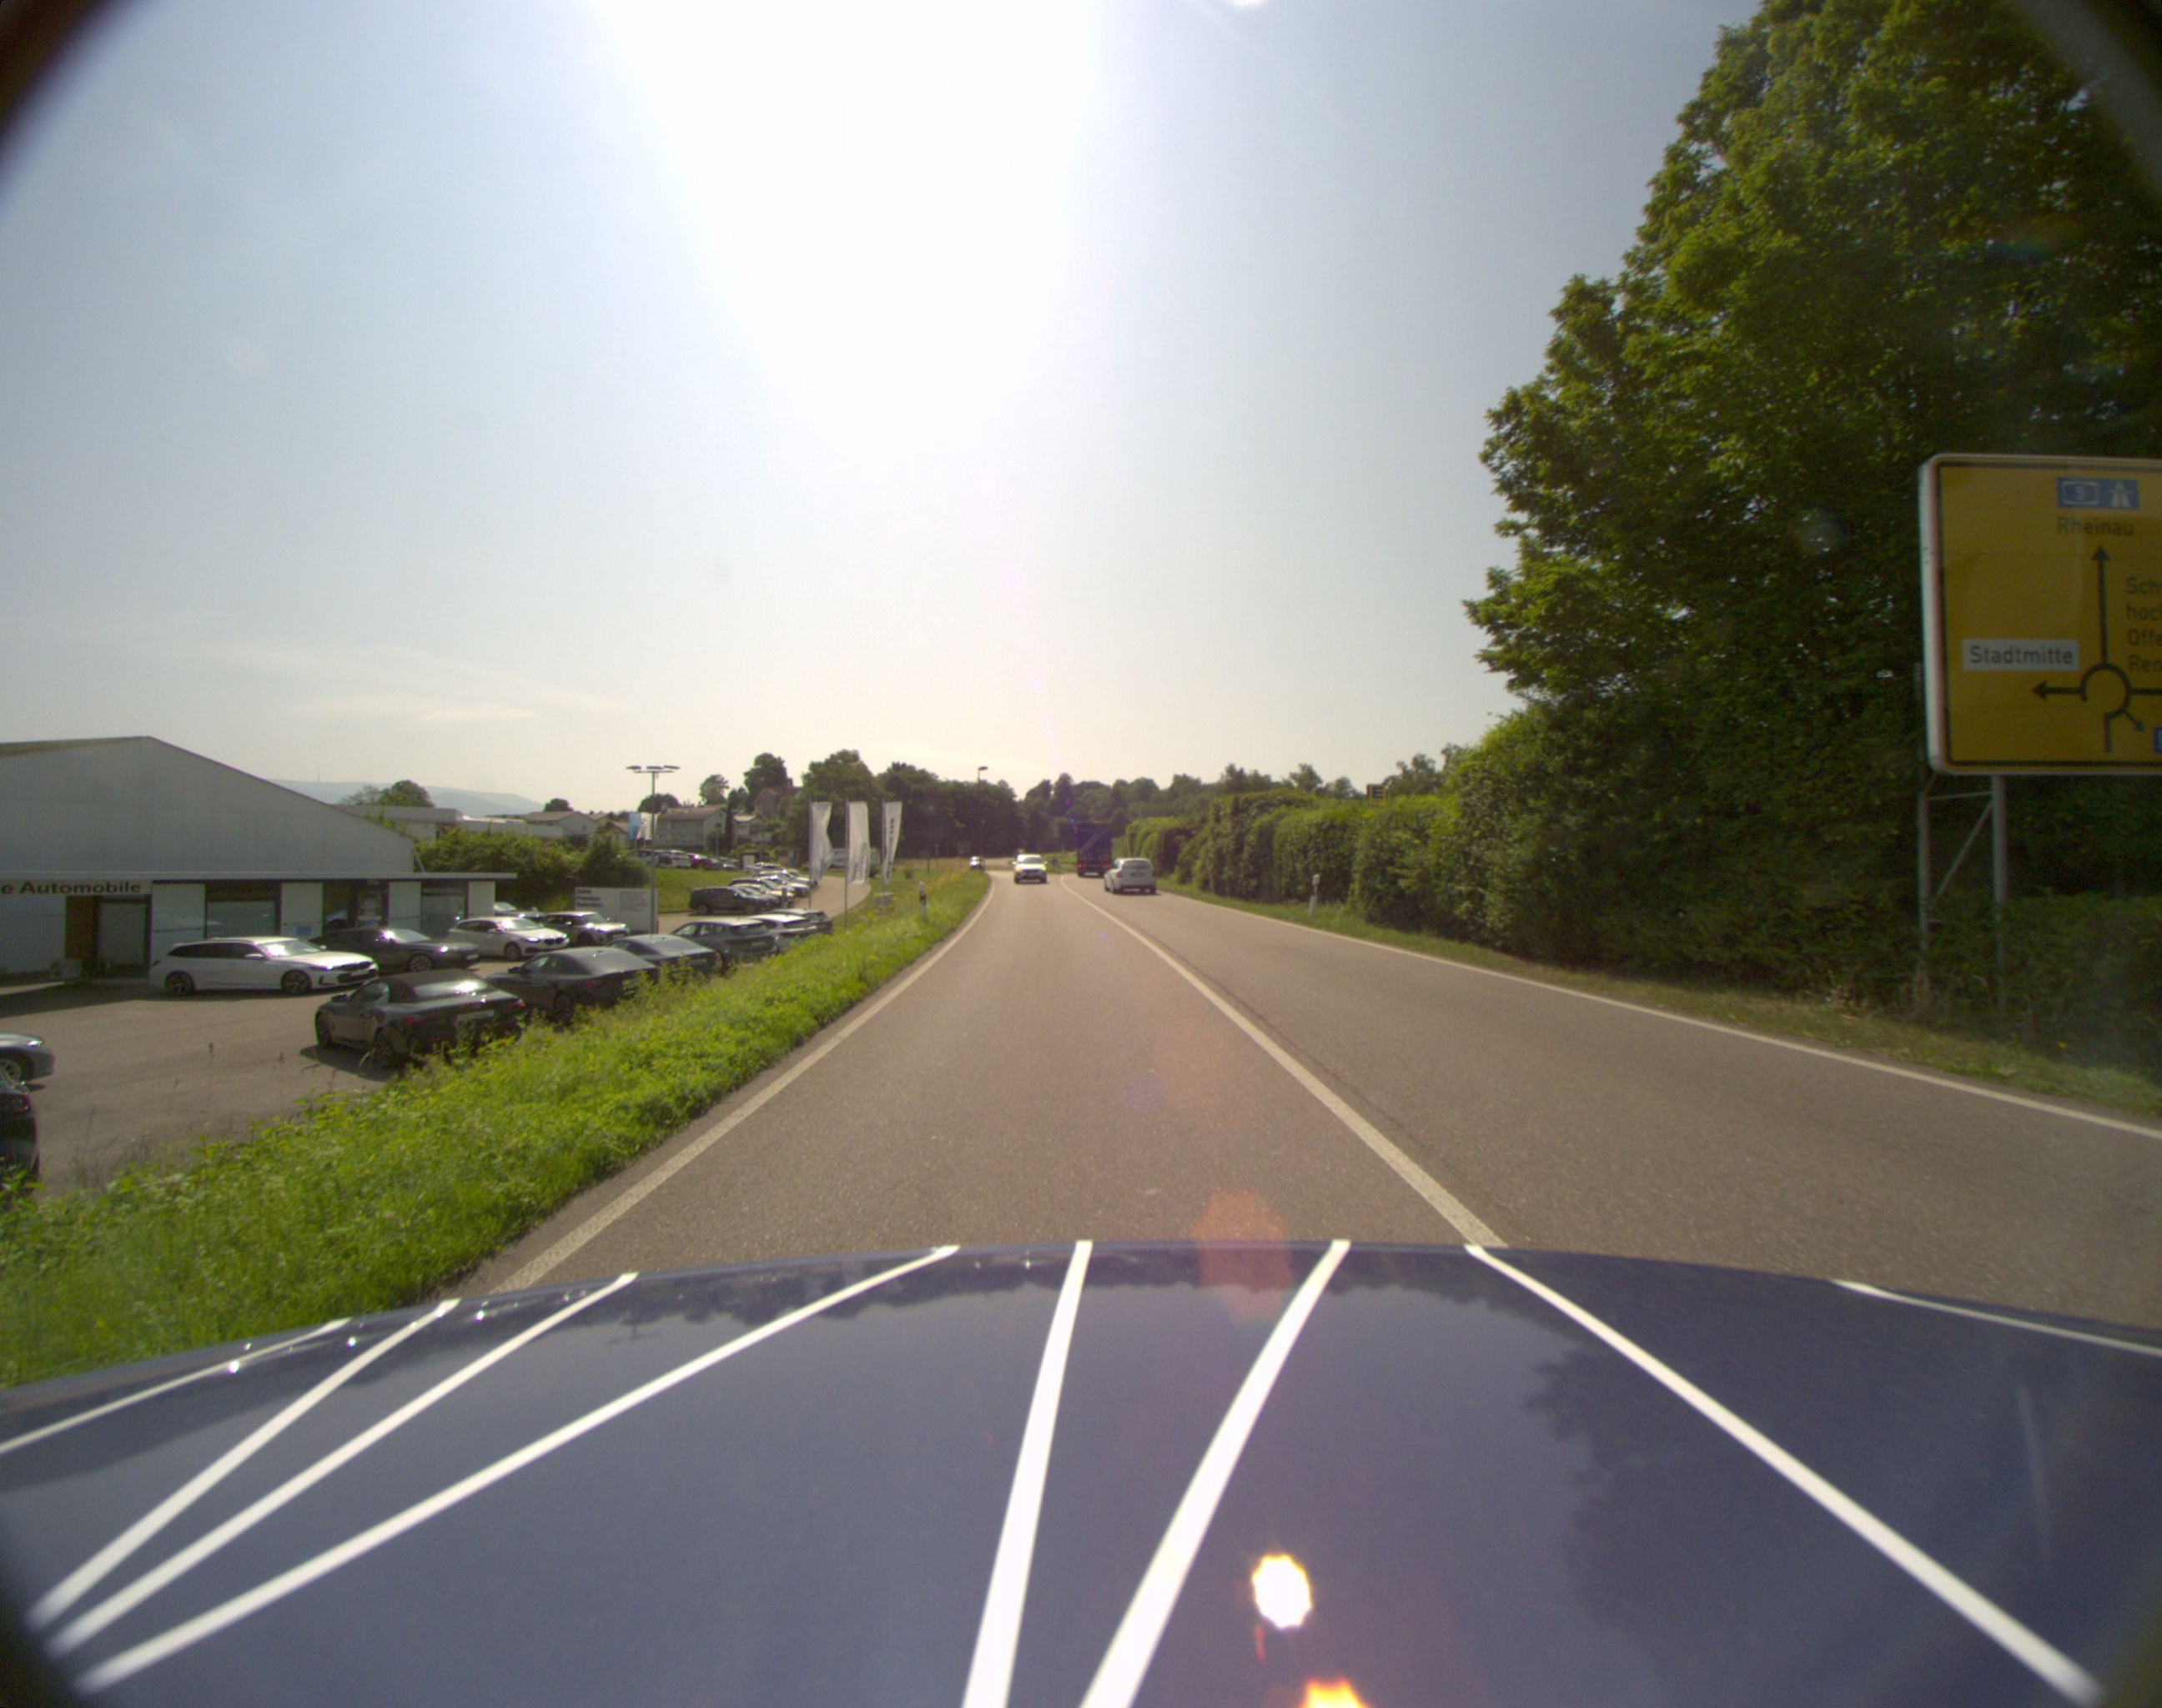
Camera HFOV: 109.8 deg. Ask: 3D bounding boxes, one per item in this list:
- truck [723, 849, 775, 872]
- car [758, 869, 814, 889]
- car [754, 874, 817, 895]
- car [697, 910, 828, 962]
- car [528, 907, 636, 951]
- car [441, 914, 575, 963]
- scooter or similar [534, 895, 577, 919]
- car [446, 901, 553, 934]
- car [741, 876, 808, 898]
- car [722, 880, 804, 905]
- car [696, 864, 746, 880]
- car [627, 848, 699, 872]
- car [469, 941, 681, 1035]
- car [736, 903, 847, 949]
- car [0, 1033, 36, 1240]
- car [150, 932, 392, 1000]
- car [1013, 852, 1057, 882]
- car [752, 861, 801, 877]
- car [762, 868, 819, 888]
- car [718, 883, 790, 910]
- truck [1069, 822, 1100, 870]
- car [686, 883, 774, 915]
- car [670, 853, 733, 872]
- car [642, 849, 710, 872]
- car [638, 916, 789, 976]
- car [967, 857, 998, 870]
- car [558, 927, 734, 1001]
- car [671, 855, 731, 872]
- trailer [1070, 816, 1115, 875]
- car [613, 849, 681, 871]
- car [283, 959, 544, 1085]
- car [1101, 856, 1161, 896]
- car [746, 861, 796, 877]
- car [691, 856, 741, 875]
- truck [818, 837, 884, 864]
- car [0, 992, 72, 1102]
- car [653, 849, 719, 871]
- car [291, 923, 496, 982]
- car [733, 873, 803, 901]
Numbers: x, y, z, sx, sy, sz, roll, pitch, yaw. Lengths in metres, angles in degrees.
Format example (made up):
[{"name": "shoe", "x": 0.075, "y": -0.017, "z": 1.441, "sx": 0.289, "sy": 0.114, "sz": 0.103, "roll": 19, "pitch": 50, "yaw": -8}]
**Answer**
[{"name": "truck", "x": -39.270, "y": 0.734, "z": 89.856, "sx": 5.616, "sy": 2.649, "sz": 1.952, "roll": 0, "pitch": 0, "yaw": 14}, {"name": "car", "x": -24.724, "y": 2.119, "z": 63.754, "sx": 4.266, "sy": 1.474, "sz": 1.919, "roll": 2, "pitch": 2, "yaw": -19}, {"name": "car", "x": -22.801, "y": 2.358, "z": 58.787, "sx": 4.439, "sy": 1.457, "sz": 1.919, "roll": 2, "pitch": 2, "yaw": -19}, {"name": "car", "x": -11.020, "y": 2.777, "z": 26.305, "sx": 4.162, "sy": 1.514, "sz": 1.754, "roll": -1, "pitch": 1, "yaw": 24}, {"name": "car", "x": -20.114, "y": 2.985, "z": 30.644, "sx": 3.795, "sy": 1.514, "sz": 1.754, "roll": -1, "pitch": 1, "yaw": 22}, {"name": "car", "x": -20.657, "y": 3.005, "z": 27.431, "sx": 3.963, "sy": 1.514, "sz": 1.753, "roll": -1, "pitch": 1, "yaw": 16}, {"name": "scooter or similar", "x": -30.455, "y": 3.065, "z": 44.040, "sx": 1.981, "sy": 1.306, "sz": 0.622, "roll": -2, "pitch": 1, "yaw": -7}, {"name": "car", "x": -27.870, "y": 3.019, "z": 36.487, "sx": 3.946, "sy": 1.368, "sz": 1.720, "roll": -1, "pitch": 1, "yaw": 7}, {"name": "car", "x": -22.704, "y": 2.462, "z": 56.415, "sx": 4.263, "sy": 1.457, "sz": 1.871, "roll": 1, "pitch": 2, "yaw": -11}, {"name": "car", "x": -21.588, "y": 2.610, "z": 51.729, "sx": 4.783, "sy": 1.500, "sz": 1.997, "roll": 1, "pitch": 2, "yaw": -11}, {"name": "car", "x": -34.453, "y": 1.718, "z": 72.775, "sx": 4.001, "sy": 1.517, "sz": 1.952, "roll": 0, "pitch": -1, "yaw": 14}, {"name": "car", "x": -31.133, "y": 0.411, "z": 56.661, "sx": 4.461, "sy": 1.737, "sz": 1.840, "roll": 0, "pitch": 0, "yaw": 8}, {"name": "car", "x": -11.022, "y": 2.817, "z": 16.551, "sx": 4.162, "sy": 1.514, "sz": 1.859, "roll": -1, "pitch": 1, "yaw": 24}, {"name": "car", "x": -11.311, "y": 2.764, "z": 29.690, "sx": 4.161, "sy": 1.514, "sz": 1.693, "roll": -1, "pitch": 1, "yaw": 28}, {"name": "car", "x": -12.211, "y": 2.689, "z": 7.350, "sx": 4.631, "sy": 1.690, "sz": 1.860, "roll": -1, "pitch": -2, "yaw": 28}, {"name": "car", "x": -21.811, "y": 2.990, "z": 20.600, "sx": 4.436, "sy": 1.514, "sz": 1.932, "roll": -1, "pitch": 1, "yaw": 0}, {"name": "car", "x": -2.821, "y": 0.753, "z": 45.256, "sx": 2.197, "sy": 1.642, "sz": 5.118, "roll": -2, "pitch": 0, "yaw": -7}, {"name": "car", "x": -31.775, "y": 1.561, "z": 79.322, "sx": 4.584, "sy": 1.561, "sz": 1.764, "roll": 1, "pitch": 1, "yaw": -25}, {"name": "car", "x": -25.201, "y": 2.064, "z": 66.119, "sx": 4.577, "sy": 1.557, "sz": 1.919, "roll": 2, "pitch": 2, "yaw": -19}, {"name": "car", "x": -21.105, "y": 2.719, "z": 49.133, "sx": 4.002, "sy": 1.543, "sz": 1.997, "roll": 0, "pitch": 2, "yaw": -15}, {"name": "truck", "x": 0.269, "y": -0.719, "z": 70.203, "sx": 2.520, "sy": 4.233, "sz": 6.110, "roll": 0, "pitch": 0, "yaw": -3}, {"name": "car", "x": -21.407, "y": 2.747, "z": 46.523, "sx": 4.497, "sy": 1.631, "sz": 2.144, "roll": -1, "pitch": 2, "yaw": -15}, {"name": "car", "x": -32.191, "y": 0.721, "z": 64.580, "sx": 4.461, "sy": 1.625, "sz": 1.951, "roll": 0, "pitch": 0, "yaw": 8}, {"name": "car", "x": -31.540, "y": 0.504, "z": 59.252, "sx": 4.461, "sy": 1.737, "sz": 1.840, "roll": 0, "pitch": 0, "yaw": 8}, {"name": "car", "x": -11.297, "y": 2.764, "z": 23.380, "sx": 4.162, "sy": 1.514, "sz": 1.859, "roll": -1, "pitch": 1, "yaw": 23}, {"name": "car", "x": -13.710, "y": 1.328, "z": 106.177, "sx": 2.194, "sy": 1.642, "sz": 6.024, "roll": -2, "pitch": 0, "yaw": 14}, {"name": "car", "x": -11.368, "y": 2.785, "z": 19.866, "sx": 4.162, "sy": 1.514, "sz": 1.859, "roll": -1, "pitch": 1, "yaw": 24}, {"name": "car", "x": -33.593, "y": 0.867, "z": 67.192, "sx": 4.461, "sy": 1.491, "sz": 1.951, "roll": 0, "pitch": -1, "yaw": 8}, {"name": "trailer", "x": 0.765, "y": -0.669, "z": 62.766, "sx": 2.677, "sy": 4.216, "sz": 14.560, "roll": -2, "pitch": 0, "yaw": -3}, {"name": "car", "x": -30.756, "y": 0.399, "z": 53.891, "sx": 3.882, "sy": 1.523, "sz": 1.769, "roll": 0, "pitch": 0, "yaw": 8}, {"name": "car", "x": -12.035, "y": 2.861, "z": 13.664, "sx": 4.632, "sy": 1.514, "sz": 1.859, "roll": -1, "pitch": 1, "yaw": 26}, {"name": "car", "x": 2.015, "y": 0.863, "z": 31.822, "sx": 1.834, "sy": 1.462, "sz": 4.408, "roll": -2, "pitch": 0, "yaw": -5}, {"name": "car", "x": -33.260, "y": 1.632, "z": 81.634, "sx": 4.674, "sy": 1.561, "sz": 1.764, "roll": 3, "pitch": -2, "yaw": -31}, {"name": "car", "x": -36.395, "y": 1.141, "z": 75.817, "sx": 4.003, "sy": 1.740, "sz": 1.951, "roll": 1, "pitch": 0, "yaw": 8}, {"name": "truck", "x": -34.189, "y": -0.564, "z": 113.321, "sx": 9.025, "sy": 3.807, "sz": 2.897, "roll": -2, "pitch": 1, "yaw": -11}, {"name": "car", "x": -16.916, "y": 2.897, "z": 9.571, "sx": 2.139, "sy": 1.449, "sz": 4.534, "roll": -1, "pitch": 0, "yaw": 8}, {"name": "car", "x": -32.011, "y": 0.466, "z": 61.599, "sx": 4.461, "sy": 1.737, "sz": 1.951, "roll": 0, "pitch": 0, "yaw": 8}, {"name": "car", "x": -21.279, "y": 3.020, "z": 23.684, "sx": 4.438, "sy": 1.514, "sz": 1.931, "roll": 0, "pitch": 0, "yaw": -5}, {"name": "car", "x": -22.250, "y": 2.345, "z": 54.187, "sx": 4.263, "sy": 1.738, "sz": 1.997, "roll": 1, "pitch": 2, "yaw": -11}]
